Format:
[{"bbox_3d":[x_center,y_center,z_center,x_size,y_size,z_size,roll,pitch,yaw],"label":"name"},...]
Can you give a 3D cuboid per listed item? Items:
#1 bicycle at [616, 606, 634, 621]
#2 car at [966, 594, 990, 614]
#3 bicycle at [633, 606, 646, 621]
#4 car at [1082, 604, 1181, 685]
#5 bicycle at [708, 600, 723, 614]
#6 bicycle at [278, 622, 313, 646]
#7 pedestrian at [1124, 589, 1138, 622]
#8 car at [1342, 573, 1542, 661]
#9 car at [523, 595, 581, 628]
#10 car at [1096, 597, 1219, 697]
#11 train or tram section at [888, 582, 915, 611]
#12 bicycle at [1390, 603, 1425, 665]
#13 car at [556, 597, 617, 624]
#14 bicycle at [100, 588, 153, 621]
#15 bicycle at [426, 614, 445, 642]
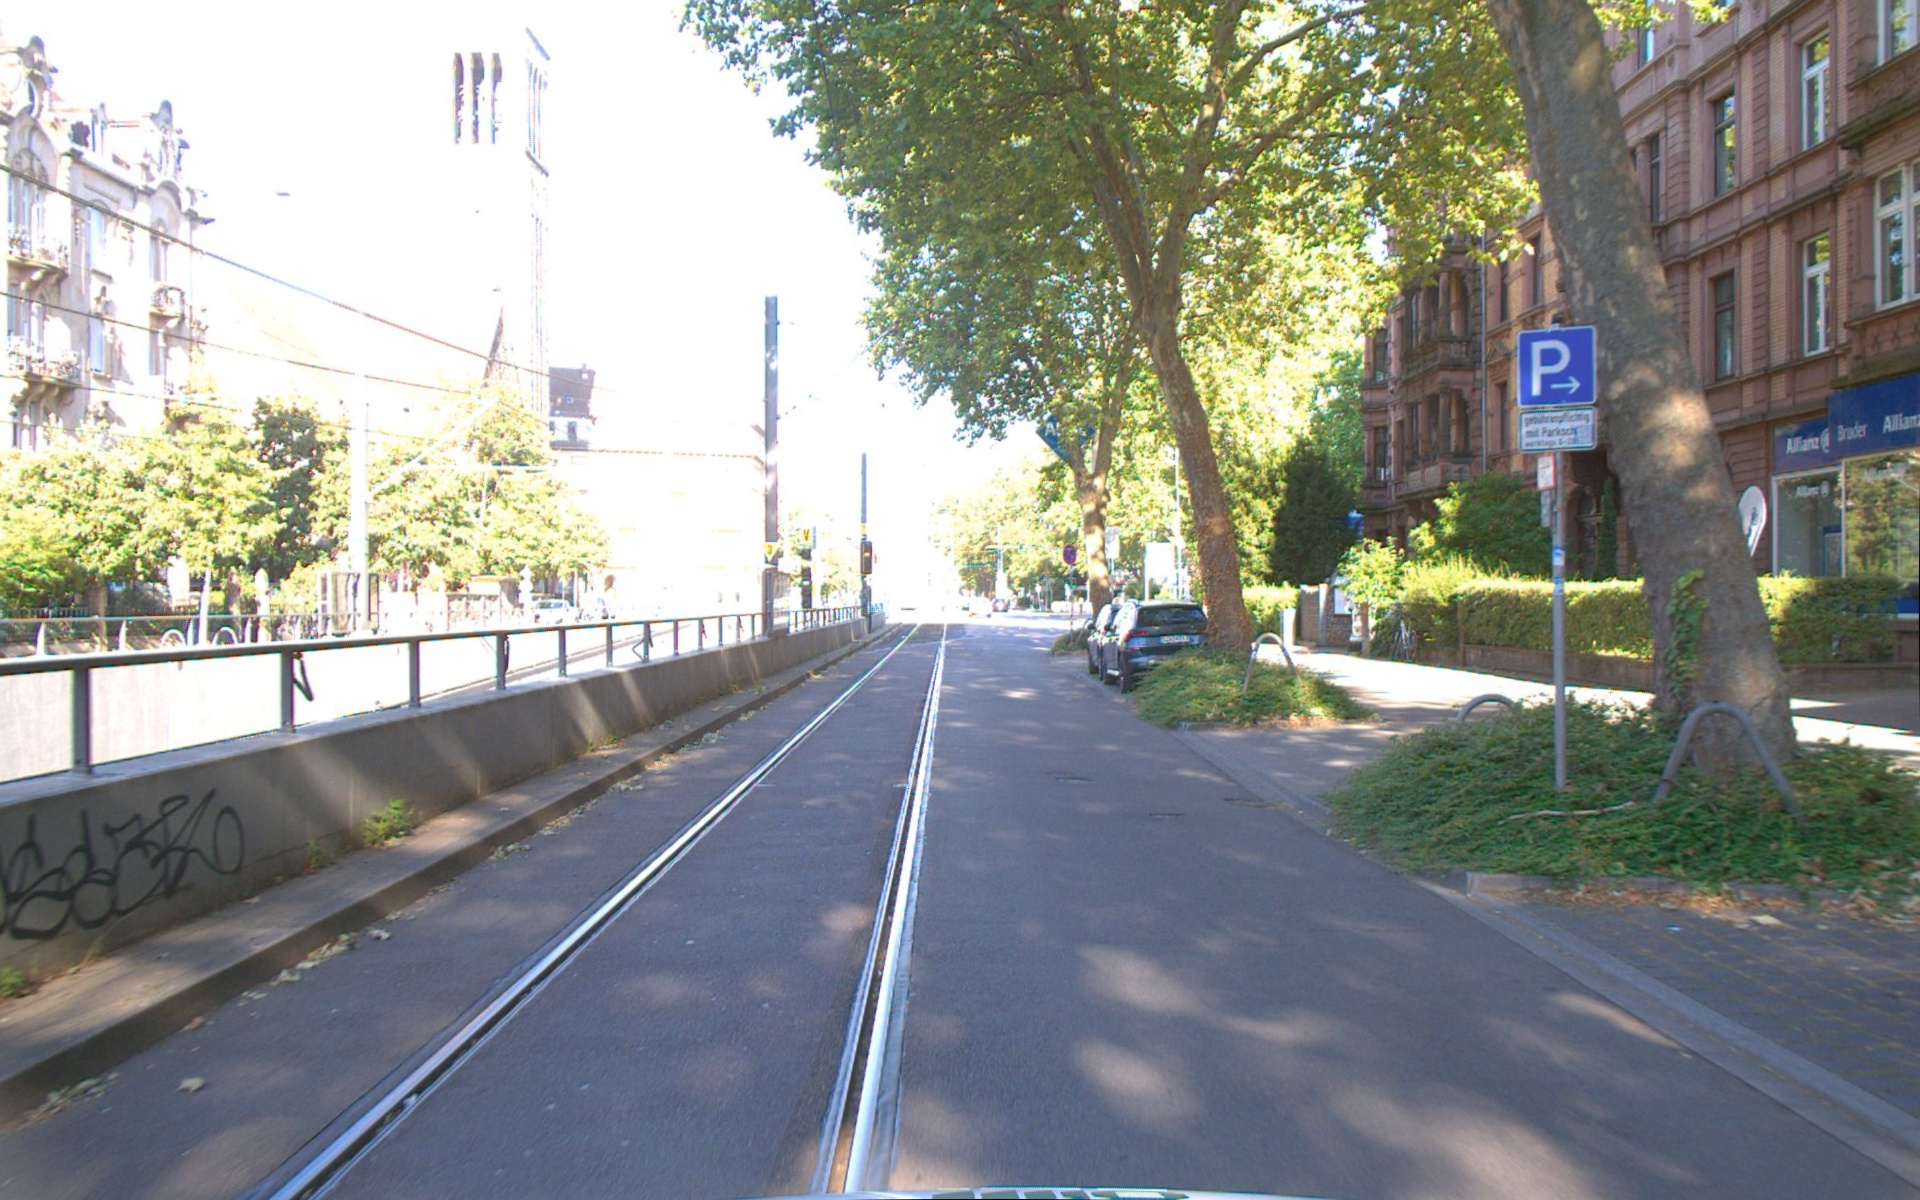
[{"bbox_3d":[-31.263,1.223,154.351,0.813,1.305,2.538,3,0,-31],"label":"bicycle"},{"bbox_3d":[1.367,0.289,127.354,1.710,1.487,3.643,3,0,-1],"label":"car"},{"bbox_3d":[-29.960,1.284,154.694,0.809,1.305,2.551,3,0,-19],"label":"bicycle"},{"bbox_3d":[3.456,0.859,33.857,1.520,1.525,4.049,-1,0,-1],"label":"car"},{"bbox_3d":[-20.731,0.611,140.151,0.618,1.164,2.281,-2,0,6],"label":"bicycle"},{"bbox_3d":[-23.972,1.211,59.708,0.407,0.814,1.888,2,0,3],"label":"bicycle"},{"bbox_3d":[9.375,0.295,90.655,0.590,1.807,0.690,-3,-1,3],"label":"pedestrian"},{"bbox_3d":[12.150,0.429,41.893,4.479,2.049,1.914,-2,0,-1],"label":"car"},{"bbox_3d":[-21.074,0.600,85.569,1.680,1.582,4.511,3,0,2],"label":"car"},{"bbox_3d":[3.453,0.789,29.599,1.583,1.615,4.416,-1,0,-1],"label":"car"},{"bbox_3d":[-7.427,-0.448,210.547,2.892,3.469,10.790,3,0,0],"label":"train or tram section"},{"bbox_3d":[9.607,0.719,35.512,0.330,1.271,1.767,2,0,4],"label":"bicycle"},{"bbox_3d":[-27.405,0.763,121.350,3.904,1.787,1.895,3,0,2],"label":"car"},{"bbox_3d":[-27.354,0.151,54.316,0.494,1.036,2.112,2,0,4],"label":"bicycle"},{"bbox_3d":[-20.800,1.087,65.549,0.479,1.040,1.879,3,0,-24],"label":"bicycle"}]
